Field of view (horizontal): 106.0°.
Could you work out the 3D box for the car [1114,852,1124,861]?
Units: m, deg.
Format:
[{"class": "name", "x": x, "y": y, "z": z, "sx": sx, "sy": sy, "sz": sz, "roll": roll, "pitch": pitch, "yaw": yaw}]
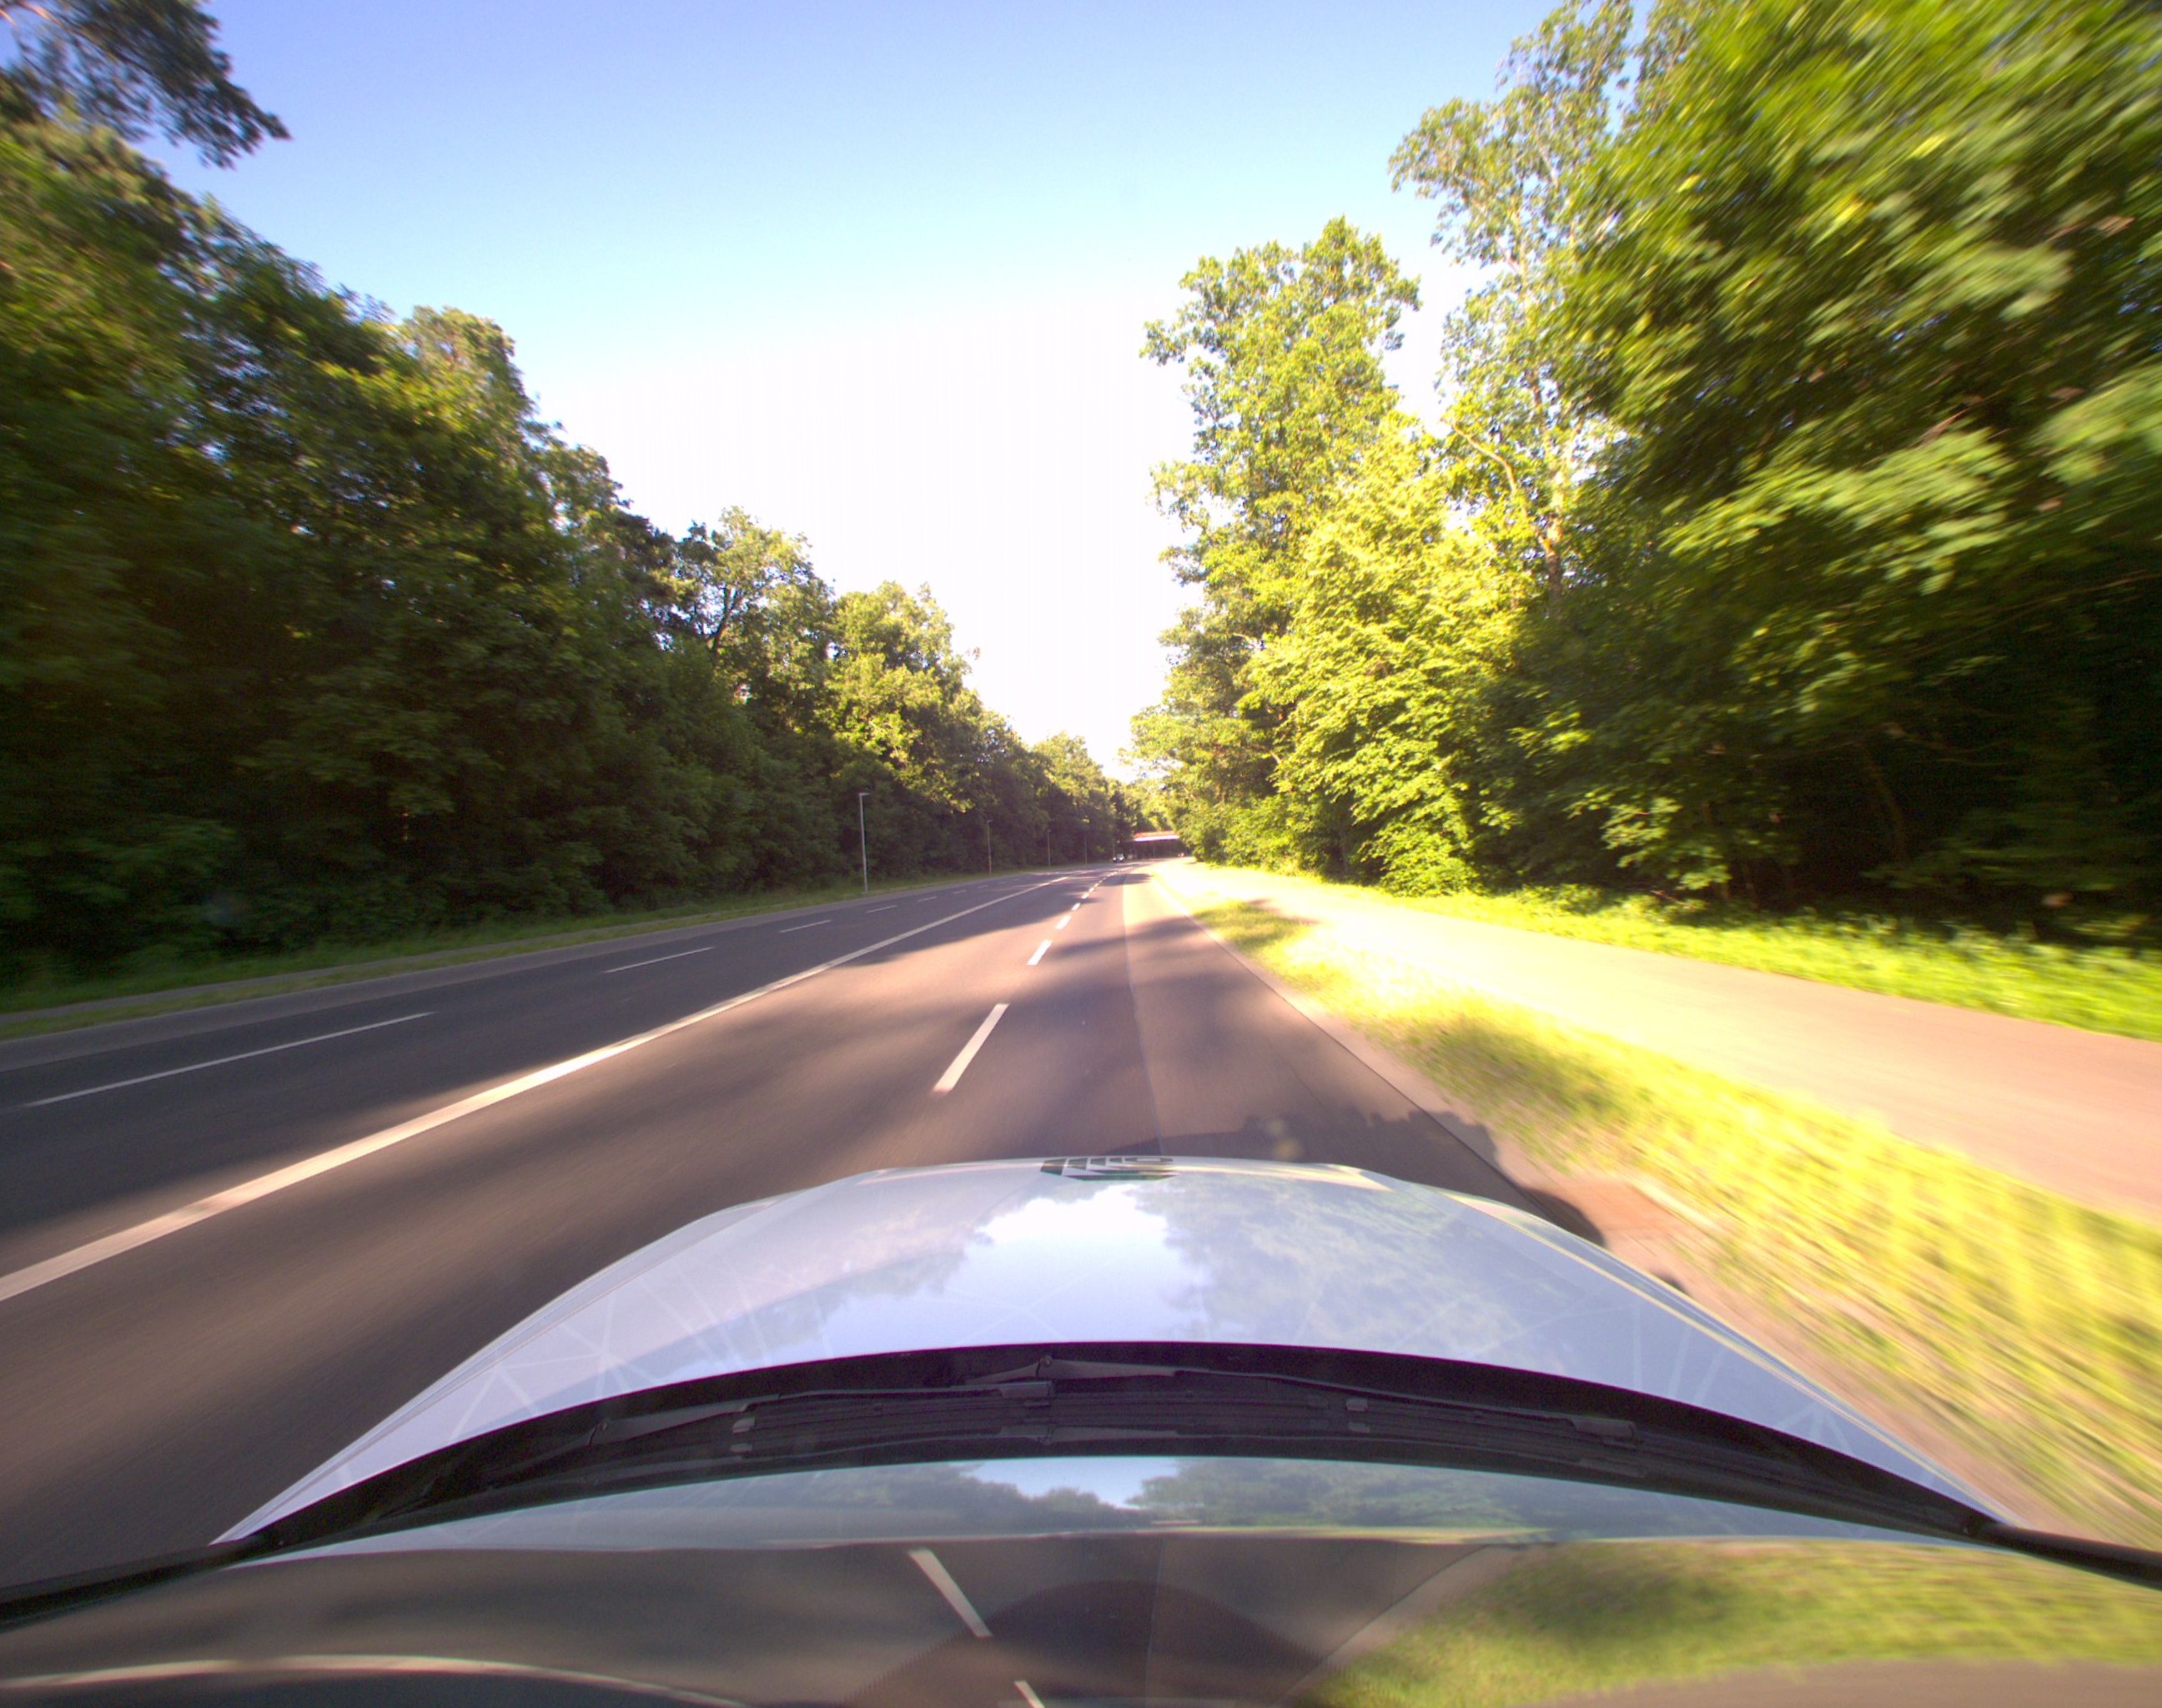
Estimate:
[{"class": "car", "x": 7.326, "y": 0.435, "z": 157.487, "sx": 1.799, "sy": 1.663, "sz": 4.527, "roll": -2, "pitch": 0, "yaw": 4}]
